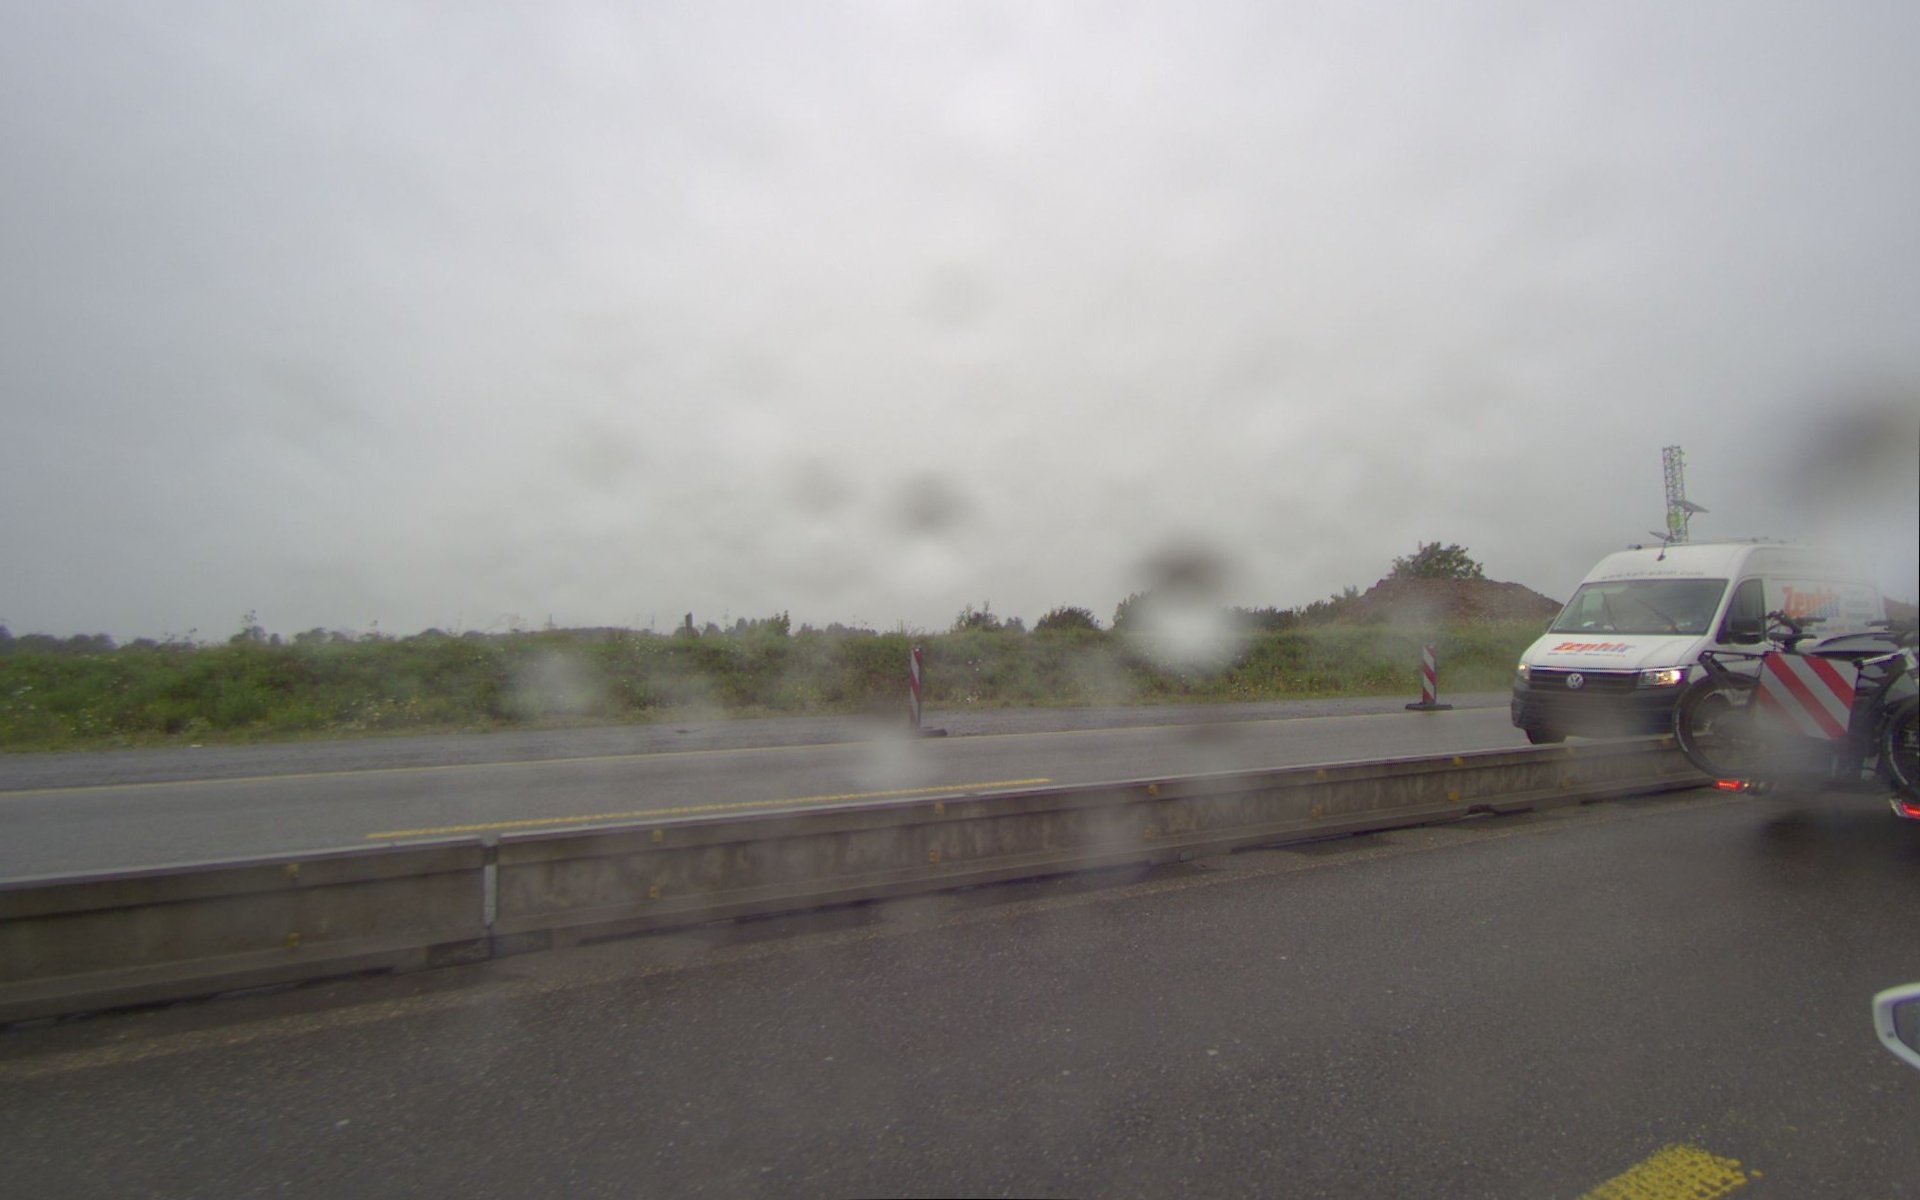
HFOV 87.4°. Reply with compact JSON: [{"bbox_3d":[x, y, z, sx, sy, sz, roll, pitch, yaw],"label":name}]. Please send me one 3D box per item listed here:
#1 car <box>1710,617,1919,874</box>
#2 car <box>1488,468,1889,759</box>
[{"bbox_3d":[8.085,0.894,7.639,5.560,1.482,1.727,0,0,-29],"label":"car"},{"bbox_3d":[9.418,0.186,12.823,5.711,3.053,1.984,1,0,-30],"label":"car"}]
